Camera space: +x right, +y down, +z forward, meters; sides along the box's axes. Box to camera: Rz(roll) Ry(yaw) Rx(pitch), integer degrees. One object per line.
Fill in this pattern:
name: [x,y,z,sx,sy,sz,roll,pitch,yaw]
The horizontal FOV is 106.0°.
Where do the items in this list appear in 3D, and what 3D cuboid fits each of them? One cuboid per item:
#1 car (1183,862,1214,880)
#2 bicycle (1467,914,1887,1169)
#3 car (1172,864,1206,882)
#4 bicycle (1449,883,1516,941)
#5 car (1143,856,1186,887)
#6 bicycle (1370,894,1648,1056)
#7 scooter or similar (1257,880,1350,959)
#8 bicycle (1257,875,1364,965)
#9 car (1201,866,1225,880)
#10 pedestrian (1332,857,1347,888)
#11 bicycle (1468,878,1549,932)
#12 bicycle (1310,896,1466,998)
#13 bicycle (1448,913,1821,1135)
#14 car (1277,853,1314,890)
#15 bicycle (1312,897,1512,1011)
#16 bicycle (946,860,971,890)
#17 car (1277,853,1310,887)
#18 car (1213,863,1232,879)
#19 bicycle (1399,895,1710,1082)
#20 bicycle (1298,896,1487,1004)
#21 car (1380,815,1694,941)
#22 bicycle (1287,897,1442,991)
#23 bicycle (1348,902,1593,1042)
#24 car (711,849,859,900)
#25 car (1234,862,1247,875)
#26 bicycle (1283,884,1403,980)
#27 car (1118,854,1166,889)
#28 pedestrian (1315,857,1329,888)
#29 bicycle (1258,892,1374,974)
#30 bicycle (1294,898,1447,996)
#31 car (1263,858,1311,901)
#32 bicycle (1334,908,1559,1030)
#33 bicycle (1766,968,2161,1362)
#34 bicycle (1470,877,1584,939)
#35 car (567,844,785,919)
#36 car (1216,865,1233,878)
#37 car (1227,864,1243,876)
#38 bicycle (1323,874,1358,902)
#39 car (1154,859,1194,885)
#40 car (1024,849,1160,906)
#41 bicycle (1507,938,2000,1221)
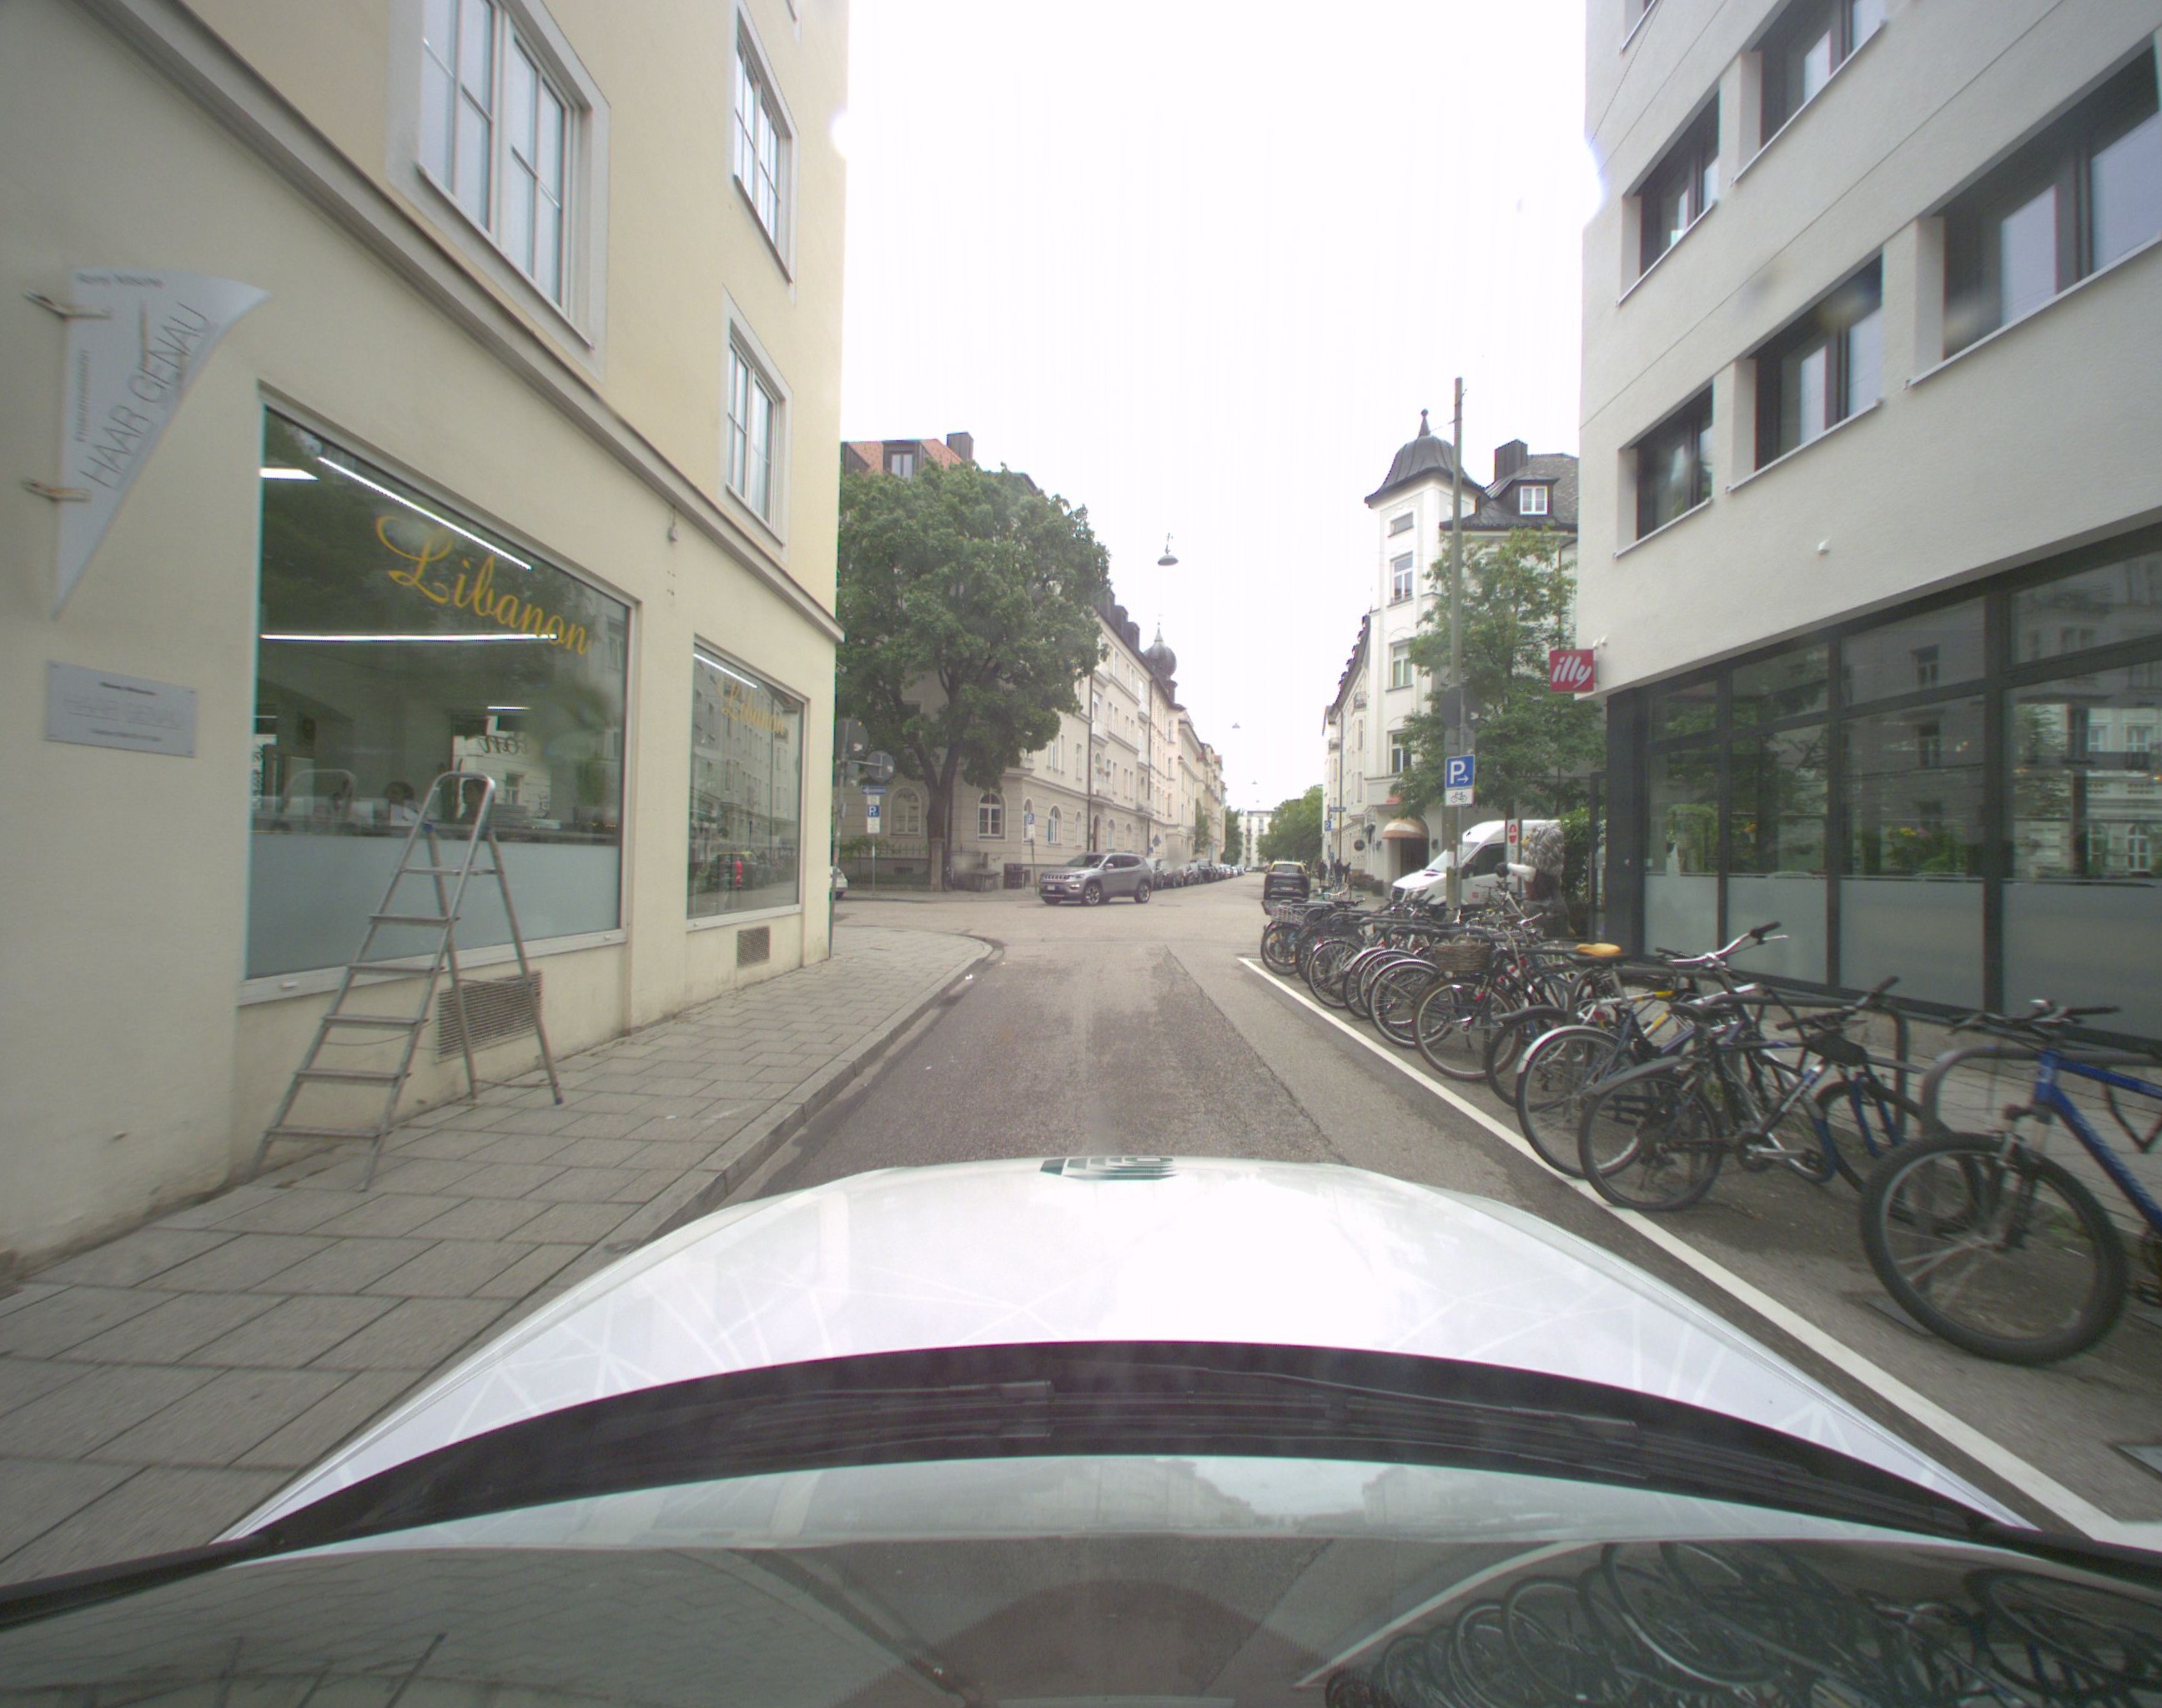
car: [9.135,1.299,63.109,1.892,1.329,4.016,1,0,15]
bicycle: [3.083,0.957,4.291,1.868,1.204,0.488,1,1,-2]
car: [7.802,1.362,58.667,1.892,1.222,4.016,1,0,15]
bicycle: [8.233,1.188,16.719,1.171,1.127,0.340,1,-1,7]
car: [4.840,0.968,46.667,1.980,1.676,4.303,1,-1,12]
bicycle: [3.287,0.916,6.332,1.888,1.170,0.565,0,0,-2]
scooter or similar: [3.536,1.034,12.993,1.347,1.210,0.418,1,-1,2]
bicycle: [3.421,0.976,12.198,1.451,1.285,0.445,1,-1,2]
car: [12.079,1.703,74.413,1.893,1.222,4.014,1,0,14]
pedestrian: [15.761,1.113,49.663,0.772,1.851,1.027,1,-1,15]
bicycle: [8.964,1.062,17.100,1.497,1.071,0.370,1,-1,0]
bicycle: [3.440,1.042,9.153,1.609,1.080,0.377,1,1,-3]
bicycle: [3.318,1.004,4.971,1.868,1.157,0.565,3,1,-2]
car: [11.891,0.961,45.231,1.807,1.871,4.305,3,0,15]
bicycle: [3.343,1.004,8.275,1.869,1.080,0.402,1,1,-3]
bicycle: [-4.642,0.778,30.978,0.491,1.052,1.830,1,2,6]
car: [13.137,0.951,50.429,1.807,1.923,4.199,3,0,15]
car: [14.897,1.748,85.689,1.808,1.574,4.013,1,-1,12]
bicycle: [3.266,0.907,5.704,1.868,1.204,0.579,0,-1,-2]
bicycle: [3.314,1.017,8.714,1.869,1.080,0.408,1,1,-3]
car: [10.098,0.480,18.475,5.864,2.591,2.063,1,1,5]
bicycle: [3.442,1.089,9.952,1.736,1.080,0.452,1,1,-3]
bicycle: [3.259,0.979,6.875,1.869,1.095,0.439,1,1,-3]
car: [-9.275,0.620,25.666,3.966,1.449,1.688,2,-1,6]
car: [25.428,2.342,129.701,1.833,2.014,4.014,1,-1,13]
bicycle: [3.445,1.016,10.736,1.449,1.207,0.394,2,-1,-7]
car: [3.220,0.888,42.166,1.981,1.676,4.024,1,-1,11]
pedestrian: [14.901,1.126,50.361,0.772,1.851,1.027,1,-1,15]
bicycle: [3.215,1.080,11.189,1.449,1.069,0.462,2,-1,-7]
bicycle: [3.378,1.084,9.538,1.670,1.080,0.336,1,1,-3]
car: [8.923,1.051,35.173,1.807,1.636,4.305,3,0,15]
bicycle: [3.368,1.056,7.576,1.869,1.052,0.563,1,-2,-3]
bicycle: [3.429,1.004,2.711,1.868,1.079,0.488,3,1,-2]
bicycle: [8.782,1.054,16.095,1.892,1.127,0.593,1,-1,5]
car: [-9.693,0.620,19.728,4.316,1.515,1.906,2,3,3]
car: [16.161,1.932,91.534,1.722,1.420,4.012,1,0,11]
car: [21.165,2.246,111.772,1.980,1.574,4.013,1,-1,12]
bicycle: [9.883,1.284,31.101,0.539,0.999,1.750,-2,0,-9]
car: [6.064,1.139,52.625,1.911,1.546,4.016,1,0,15]
car: [0.433,0.691,25.508,1.938,1.607,4.335,0,0,40]
bicycle: [3.045,1.008,3.770,1.868,1.108,0.488,2,1,-2]
